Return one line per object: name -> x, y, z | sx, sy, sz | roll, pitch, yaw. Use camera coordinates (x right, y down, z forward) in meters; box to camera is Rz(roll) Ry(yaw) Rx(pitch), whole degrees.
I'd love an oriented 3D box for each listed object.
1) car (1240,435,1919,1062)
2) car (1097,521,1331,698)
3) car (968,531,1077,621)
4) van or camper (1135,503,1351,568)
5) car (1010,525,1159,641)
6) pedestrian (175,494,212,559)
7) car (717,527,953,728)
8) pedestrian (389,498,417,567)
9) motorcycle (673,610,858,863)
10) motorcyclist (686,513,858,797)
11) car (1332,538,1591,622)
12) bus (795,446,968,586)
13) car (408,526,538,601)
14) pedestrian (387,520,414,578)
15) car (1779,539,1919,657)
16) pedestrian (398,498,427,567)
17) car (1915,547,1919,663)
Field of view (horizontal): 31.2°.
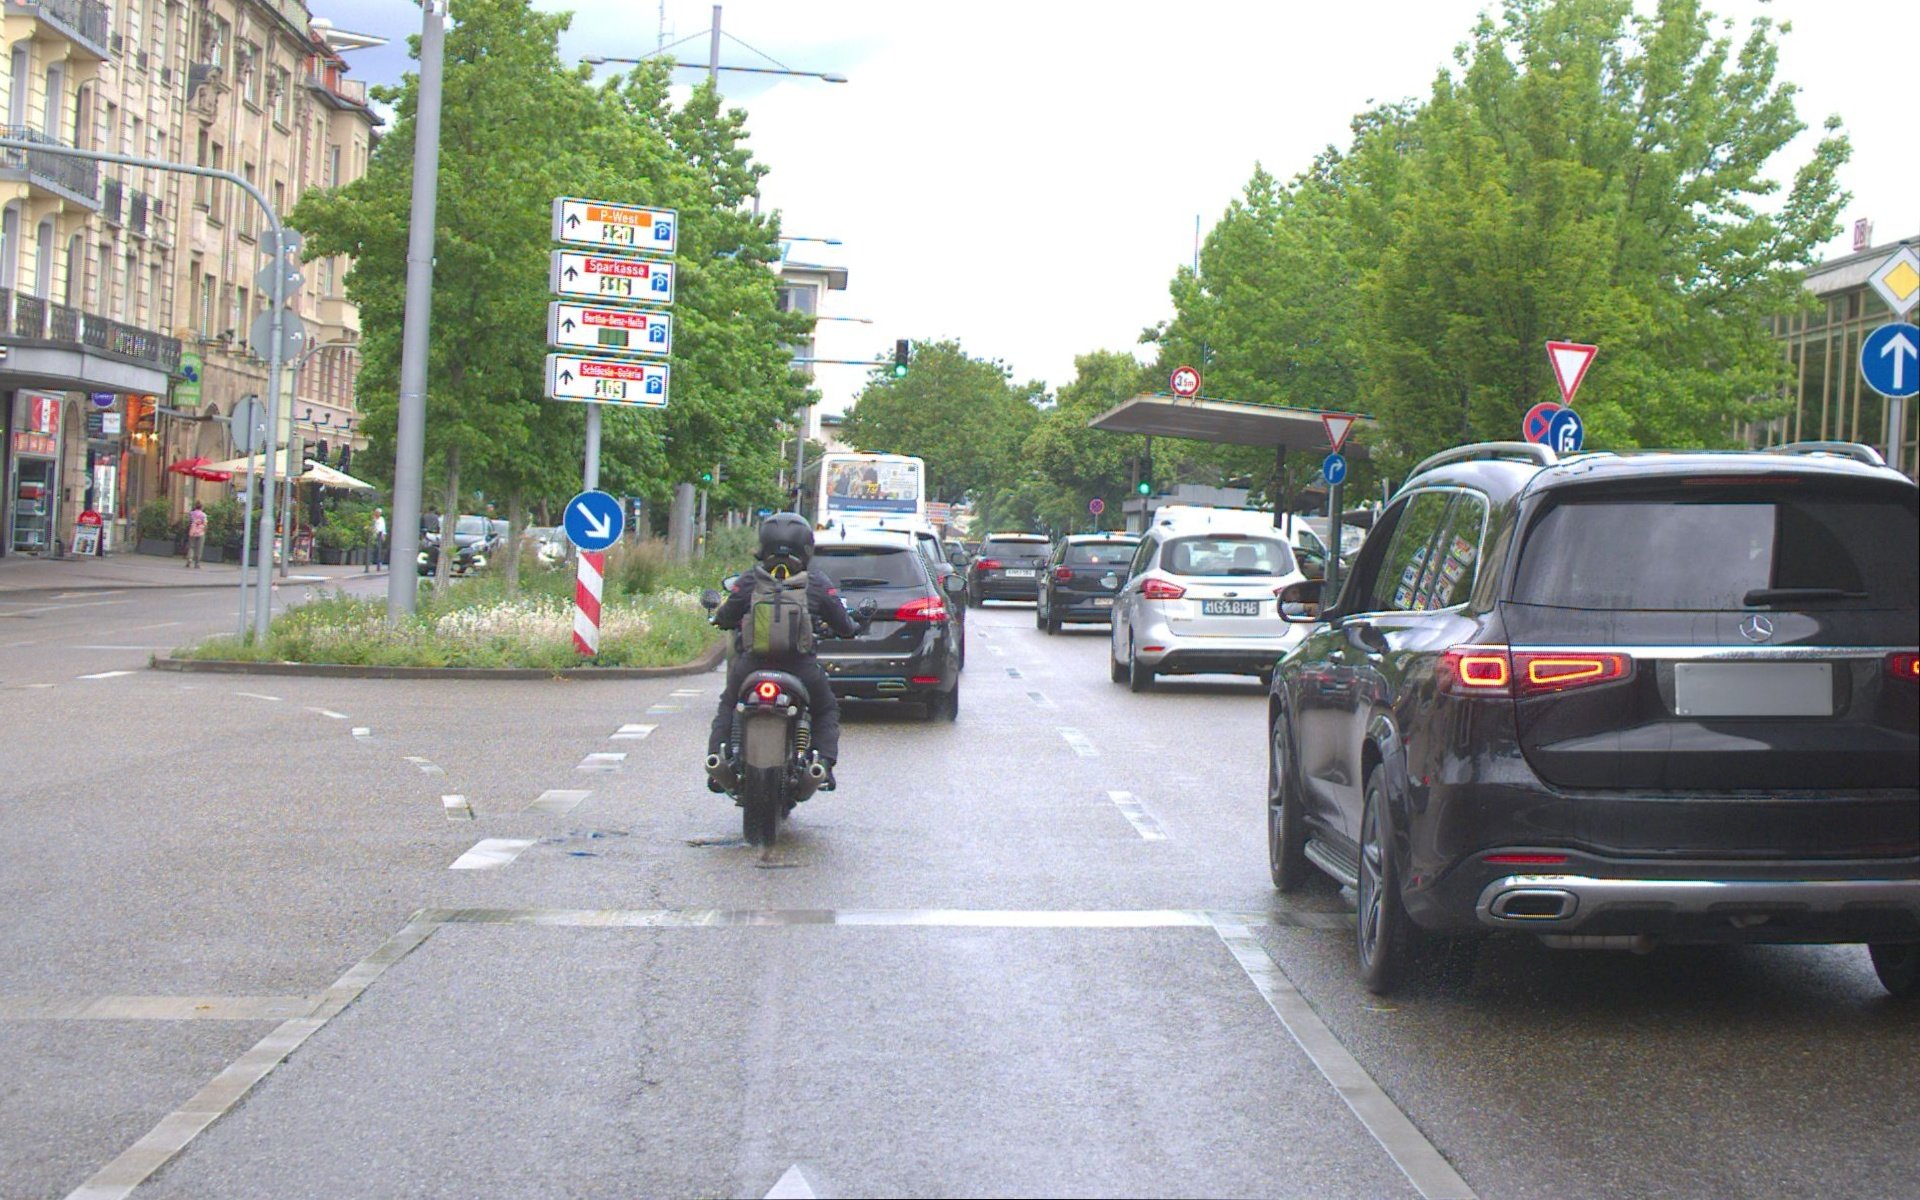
car -> 2.240, 0.381, 12.326 | 1.993, 1.800, 4.690 | 1, 1, -1
car -> 2.352, 0.044, 32.779 | 1.851, 1.562, 4.000 | 1, 1, -1
car -> 1.168, -0.480, 65.889 | 1.810, 1.637, 3.904 | 1, 1, -2
van or camper -> 9.246, -2.088, 112.088 | 6.753, 2.007, 2.385 | 1, 1, -27
car -> 1.764, -0.277, 49.794 | 1.810, 1.576, 3.904 | 1, 1, -2
pedestrian -> -17.776, -1.705, 79.751 | 0.661, 1.505, 0.519 | 0, 1, -39
car -> -0.946, 0.158, 27.106 | 1.708, 1.443, 4.000 | 1, 1, -1
pedestrian -> -16.467, -1.994, 101.715 | 0.757, 2.007, 0.833 | 1, 1, -7
motorcycle -> -0.905, 0.618, 16.541 | 0.766, 1.073, 2.175 | 1, 1, -1
motorcyclist -> -0.900, 0.253, 16.668 | 0.764, 1.327, 0.866 | 1, 1, -1
car -> 8.746, -0.369, 60.234 | 1.775, 1.380, 4.366 | 0, 1, -41
bus -> -2.203, -2.115, 88.077 | 3.760, 3.198, 15.528 | 1, 1, -4
car -> -12.233, -0.947, 86.626 | 1.772, 1.525, 4.077 | -11, -1, 11
pedestrian -> -16.507, -1.505, 101.503 | 0.674, 1.696, 0.634 | 1, 1, -1
car -> 12.832, -0.055, 46.990 | 1.913, 1.519, 4.743 | 1, 1, -3
pedestrian -> -16.052, -1.980, 100.824 | 0.757, 2.007, 0.833 | 1, 1, -7
car -> 12.974, 0.115, 40.704 | 1.846, 1.447, 4.667 | 1, 1, -2
